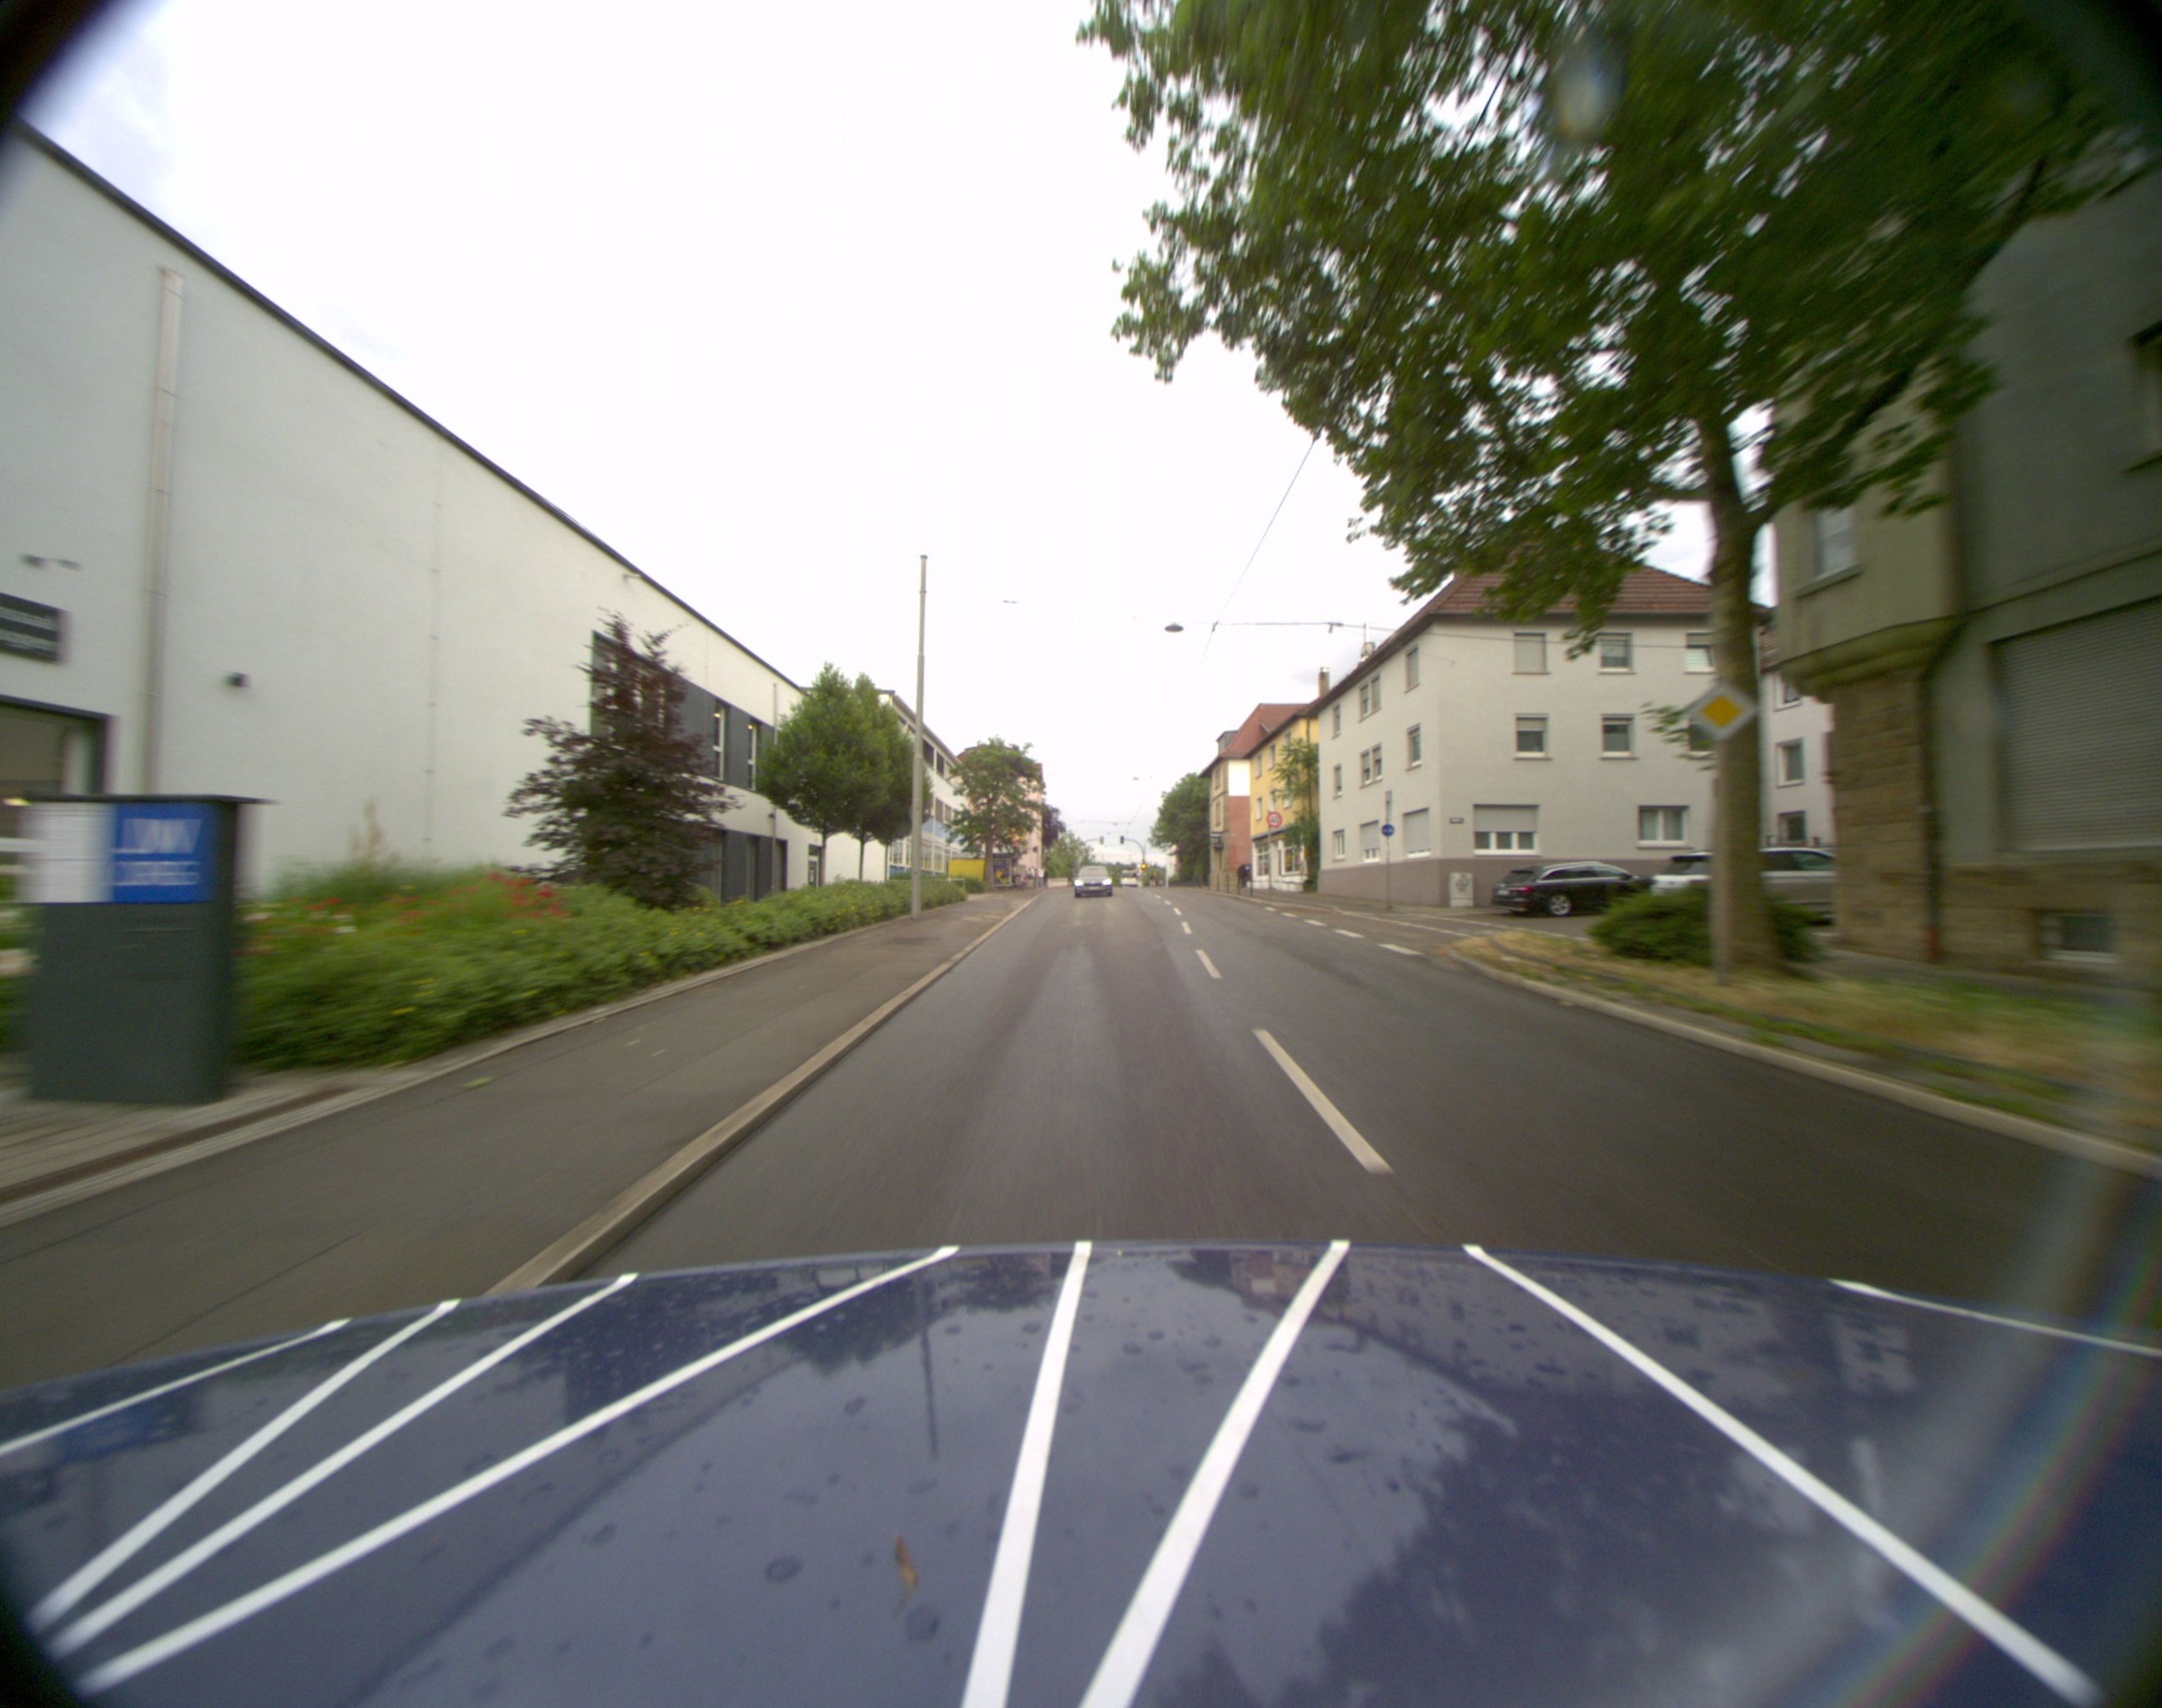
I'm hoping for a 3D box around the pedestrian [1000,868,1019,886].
[{"bbox_3d":[-5.234,1.684,55.441,1.359,1.265,0.741,1,-1,-4],"label":"pedestrian"}]

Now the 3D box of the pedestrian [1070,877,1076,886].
[{"bbox_3d":[-1.474,5.181,142.749,0.922,1.537,0.544,1,-3,-31],"label":"pedestrian"}]

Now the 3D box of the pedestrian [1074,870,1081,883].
[{"bbox_3d":[-0.419,2.769,92.740,0.786,1.632,1.222,-1,-1,-3],"label":"pedestrian"}]

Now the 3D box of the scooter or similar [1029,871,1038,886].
[{"bbox_3d":[-3.693,1.898,59.030,0.619,1.133,0.567,1,-1,-4],"label":"scooter or similar"}]

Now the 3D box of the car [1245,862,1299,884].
[{"bbox_3d":[14.462,1.436,57.686,3.574,1.477,1.947,-2,-2,-1],"label":"car"}]

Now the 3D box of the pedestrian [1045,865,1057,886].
[{"bbox_3d":[-2.544,1.815,63.582,0.638,1.699,0.747,3,-1,-33],"label":"pedestrian"}]

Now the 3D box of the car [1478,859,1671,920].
[{"bbox_3d":[13.673,0.960,21.246,3.997,1.389,2.000,-4,-1,0],"label":"car"}]

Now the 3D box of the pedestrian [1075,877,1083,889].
[{"bbox_3d":[-0.222,3.612,95.202,0.876,1.551,1.050,-2,-1,8],"label":"pedestrian"}]

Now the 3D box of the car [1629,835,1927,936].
[{"bbox_3d":[14.201,0.628,15.701,4.193,1.693,2.000,-4,-1,1],"label":"car"}]

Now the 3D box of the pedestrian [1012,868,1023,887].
[{"bbox_3d":[-5.396,1.981,64.599,0.676,1.615,0.623,3,-1,-28],"label":"pedestrian"}]

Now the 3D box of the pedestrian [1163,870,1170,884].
[{"bbox_3d":[11.453,3.046,102.172,0.808,1.809,1.117,-1,-3,0],"label":"pedestrian"}]

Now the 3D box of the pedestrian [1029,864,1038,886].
[{"bbox_3d":[-3.756,1.629,59.680,0.662,1.731,0.829,1,-1,-4],"label":"pedestrian"}]

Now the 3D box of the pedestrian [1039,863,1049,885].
[{"bbox_3d":[-3.098,1.670,63.144,0.486,1.863,0.634,1,-2,40],"label":"pedestrian"}]

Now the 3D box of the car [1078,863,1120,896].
[{"bbox_3d":[0.841,1.255,35.658,1.837,1.429,4.003,-1,-3,2],"label":"car"}]

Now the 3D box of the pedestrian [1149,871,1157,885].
[{"bbox_3d":[9.815,3.271,103.558,0.864,1.870,1.044,0,-3,-1],"label":"pedestrian"}]

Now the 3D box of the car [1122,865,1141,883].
[{"bbox_3d":[5.568,2.188,83.737,1.886,1.858,4.454,0,-1,1],"label":"car"}]

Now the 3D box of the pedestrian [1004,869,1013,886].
[{"bbox_3d":[-5.442,1.764,56.979,0.662,1.191,0.741,1,-1,-4],"label":"pedestrian"}]

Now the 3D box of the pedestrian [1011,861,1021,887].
[{"bbox_3d":[-4.504,1.384,52.904,0.648,1.820,0.741,1,-1,-4],"label":"pedestrian"}]

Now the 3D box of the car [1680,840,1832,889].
[{"bbox_3d":[23.386,0.353,26.558,1.802,1.511,4.001,-2,-1,2],"label":"car"}]

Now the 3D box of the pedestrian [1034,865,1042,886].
[{"bbox_3d":[-3.555,1.768,62.608,0.446,1.697,0.558,2,-1,19],"label":"pedestrian"}]

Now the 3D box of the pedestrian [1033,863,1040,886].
[{"bbox_3d":[-3.604,1.639,61.847,0.460,1.829,0.604,2,-1,-4],"label":"pedestrian"}]

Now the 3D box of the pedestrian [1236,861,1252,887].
[{"bbox_3d":[10.765,1.288,50.203,0.817,1.669,0.993,-1,0,-1],"label":"pedestrian"}]
